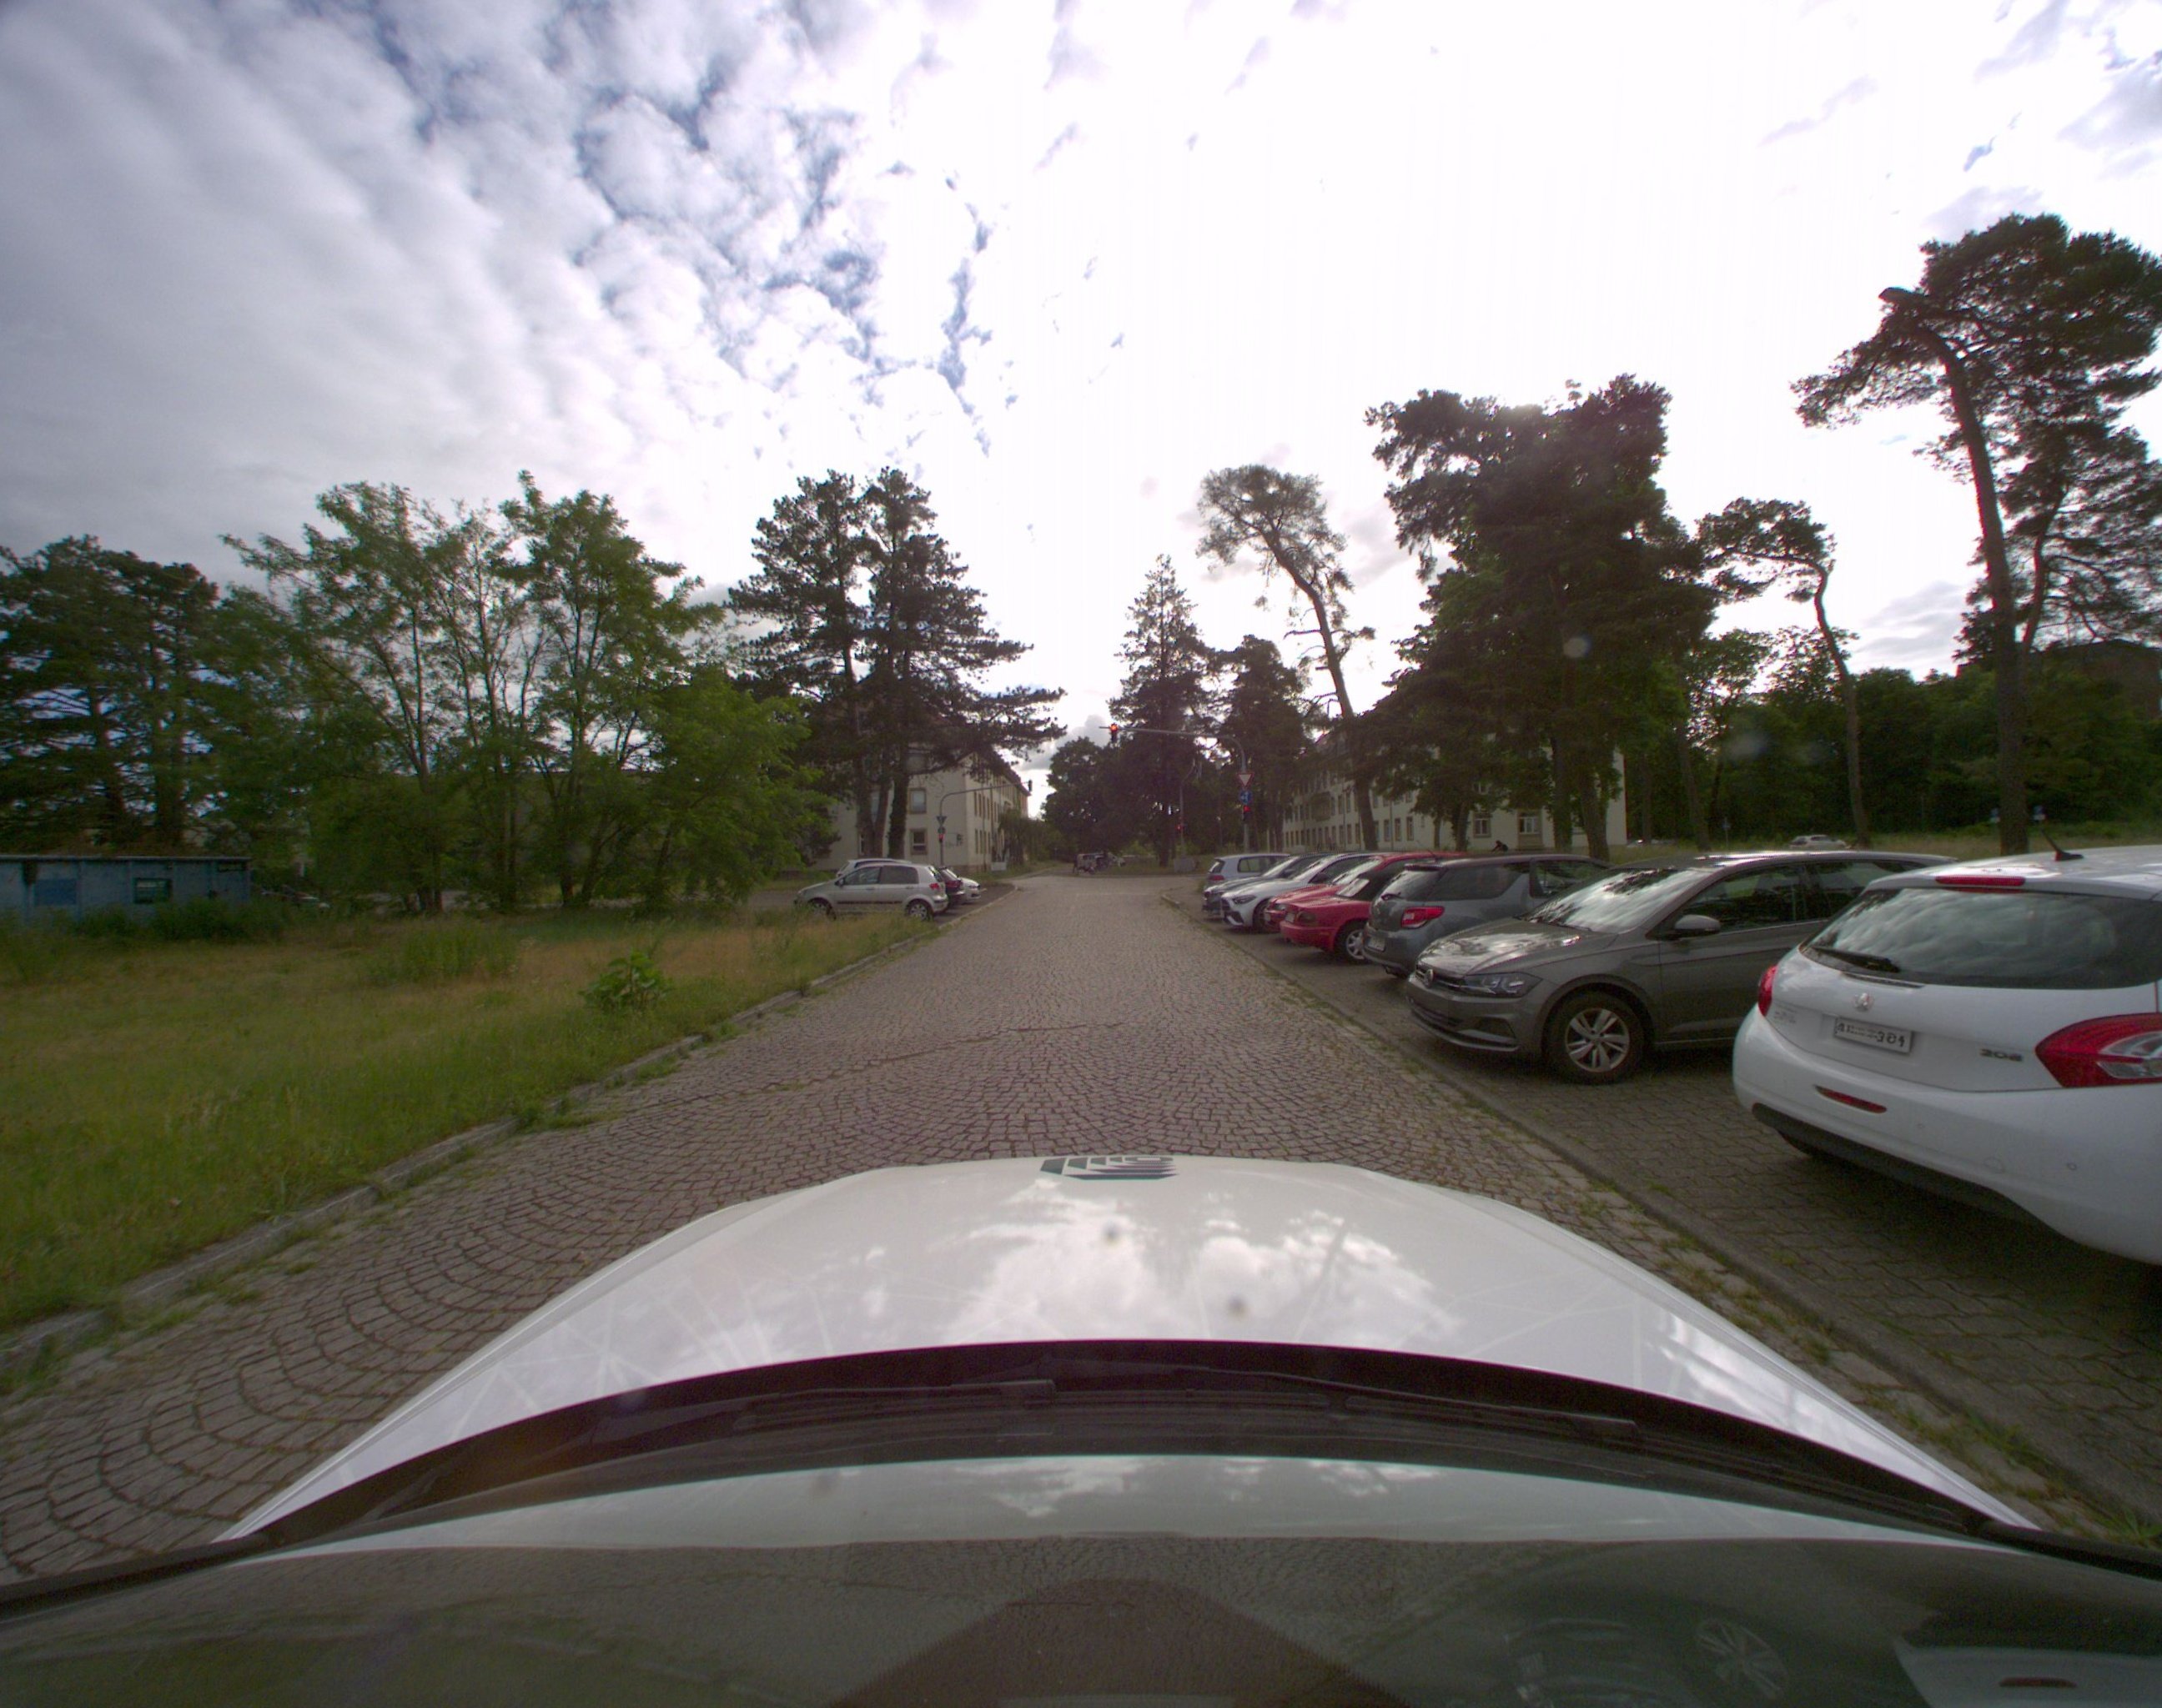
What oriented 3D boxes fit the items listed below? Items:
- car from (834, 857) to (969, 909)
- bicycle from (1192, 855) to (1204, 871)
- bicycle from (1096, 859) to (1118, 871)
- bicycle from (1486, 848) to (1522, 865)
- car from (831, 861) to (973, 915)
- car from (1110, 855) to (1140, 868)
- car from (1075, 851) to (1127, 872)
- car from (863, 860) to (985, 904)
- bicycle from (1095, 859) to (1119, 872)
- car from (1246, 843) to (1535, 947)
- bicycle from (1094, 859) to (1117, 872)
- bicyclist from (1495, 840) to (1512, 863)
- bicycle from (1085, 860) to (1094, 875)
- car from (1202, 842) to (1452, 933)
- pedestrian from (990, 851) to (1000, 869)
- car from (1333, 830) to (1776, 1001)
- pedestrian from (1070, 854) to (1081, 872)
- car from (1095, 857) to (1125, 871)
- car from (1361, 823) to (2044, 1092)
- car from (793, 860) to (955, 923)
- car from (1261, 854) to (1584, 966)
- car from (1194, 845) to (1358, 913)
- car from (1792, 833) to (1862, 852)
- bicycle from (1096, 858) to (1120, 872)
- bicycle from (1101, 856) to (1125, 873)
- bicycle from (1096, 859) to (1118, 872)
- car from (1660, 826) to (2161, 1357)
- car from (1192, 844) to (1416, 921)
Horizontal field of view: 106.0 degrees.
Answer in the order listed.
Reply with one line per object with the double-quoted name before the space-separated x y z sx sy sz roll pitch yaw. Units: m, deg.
"car" -5.688 0.916 26.131 3.938 1.563 1.648 1 0 -3
"bicycle" 8.349 0.607 58.279 0.584 1.106 1.961 -2 0 1
"bicycle" 2.402 1.032 75.215 1.964 1.069 0.583 -2 0 -24
"bicycle" 26.724 0.152 51.499 1.947 1.024 0.605 -2 0 2
"car" -5.053 0.951 23.350 3.737 1.428 1.581 1 0 -3
"car" 4.958 0.839 92.358 3.224 1.416 1.724 -2 0 -2
"car" 2.182 0.793 88.482 5.359 1.925 2.019 -3 0 -9
"car" -5.456 0.960 28.672 3.935 1.421 1.650 1 0 -1
"bicycle" 2.279 1.005 71.028 1.953 1.117 0.587 -2 0 -7
"car" 5.212 0.661 14.141 4.248 1.416 1.871 -4 0 0
"bicycle" 2.192 1.038 72.511 1.967 1.069 0.582 -2 0 -29
"bicyclist" 26.711 -0.177 51.498 0.746 1.410 0.605 -2 0 3
"bicycle" 0.693 1.113 67.199 0.602 1.132 1.958 -2 0 -5
"car" 4.869 0.629 16.410 4.420 1.416 1.865 -4 0 -9
"pedestrian" -9.125 0.614 86.151 0.779 1.837 0.733 -2 -1 -31
"car" 5.021 0.613 9.030 3.851 1.472 1.757 -4 0 -1
"pedestrian" -0.506 0.840 75.577 0.741 1.618 0.770 -2 -1 -22
"car" 3.032 1.027 85.115 3.001 1.268 1.532 -2 0 -6
"car" 4.386 0.656 6.159 3.854 1.472 1.756 -4 0 -4
"car" -5.185 0.927 20.753 3.694 1.479 1.581 1 0 -3
"car" 4.734 0.741 11.681 3.851 1.236 1.757 -4 0 -1
"car" 5.075 0.637 21.548 3.912 1.477 1.643 -4 0 2
"car" 58.514 -0.876 63.904 3.931 1.421 1.651 1 0 3
"bicycle" 2.333 0.977 70.395 1.953 1.132 0.587 -2 0 -7
"bicycle" 2.826 0.911 71.859 1.953 1.384 0.587 -2 0 -7
"bicycle" 2.361 1.041 73.861 1.967 1.069 0.582 -2 0 -29
"car" 4.901 0.631 3.256 3.848 1.472 1.759 -4 0 1
"car" 5.119 0.630 19.097 4.669 1.416 1.870 -4 0 -2
